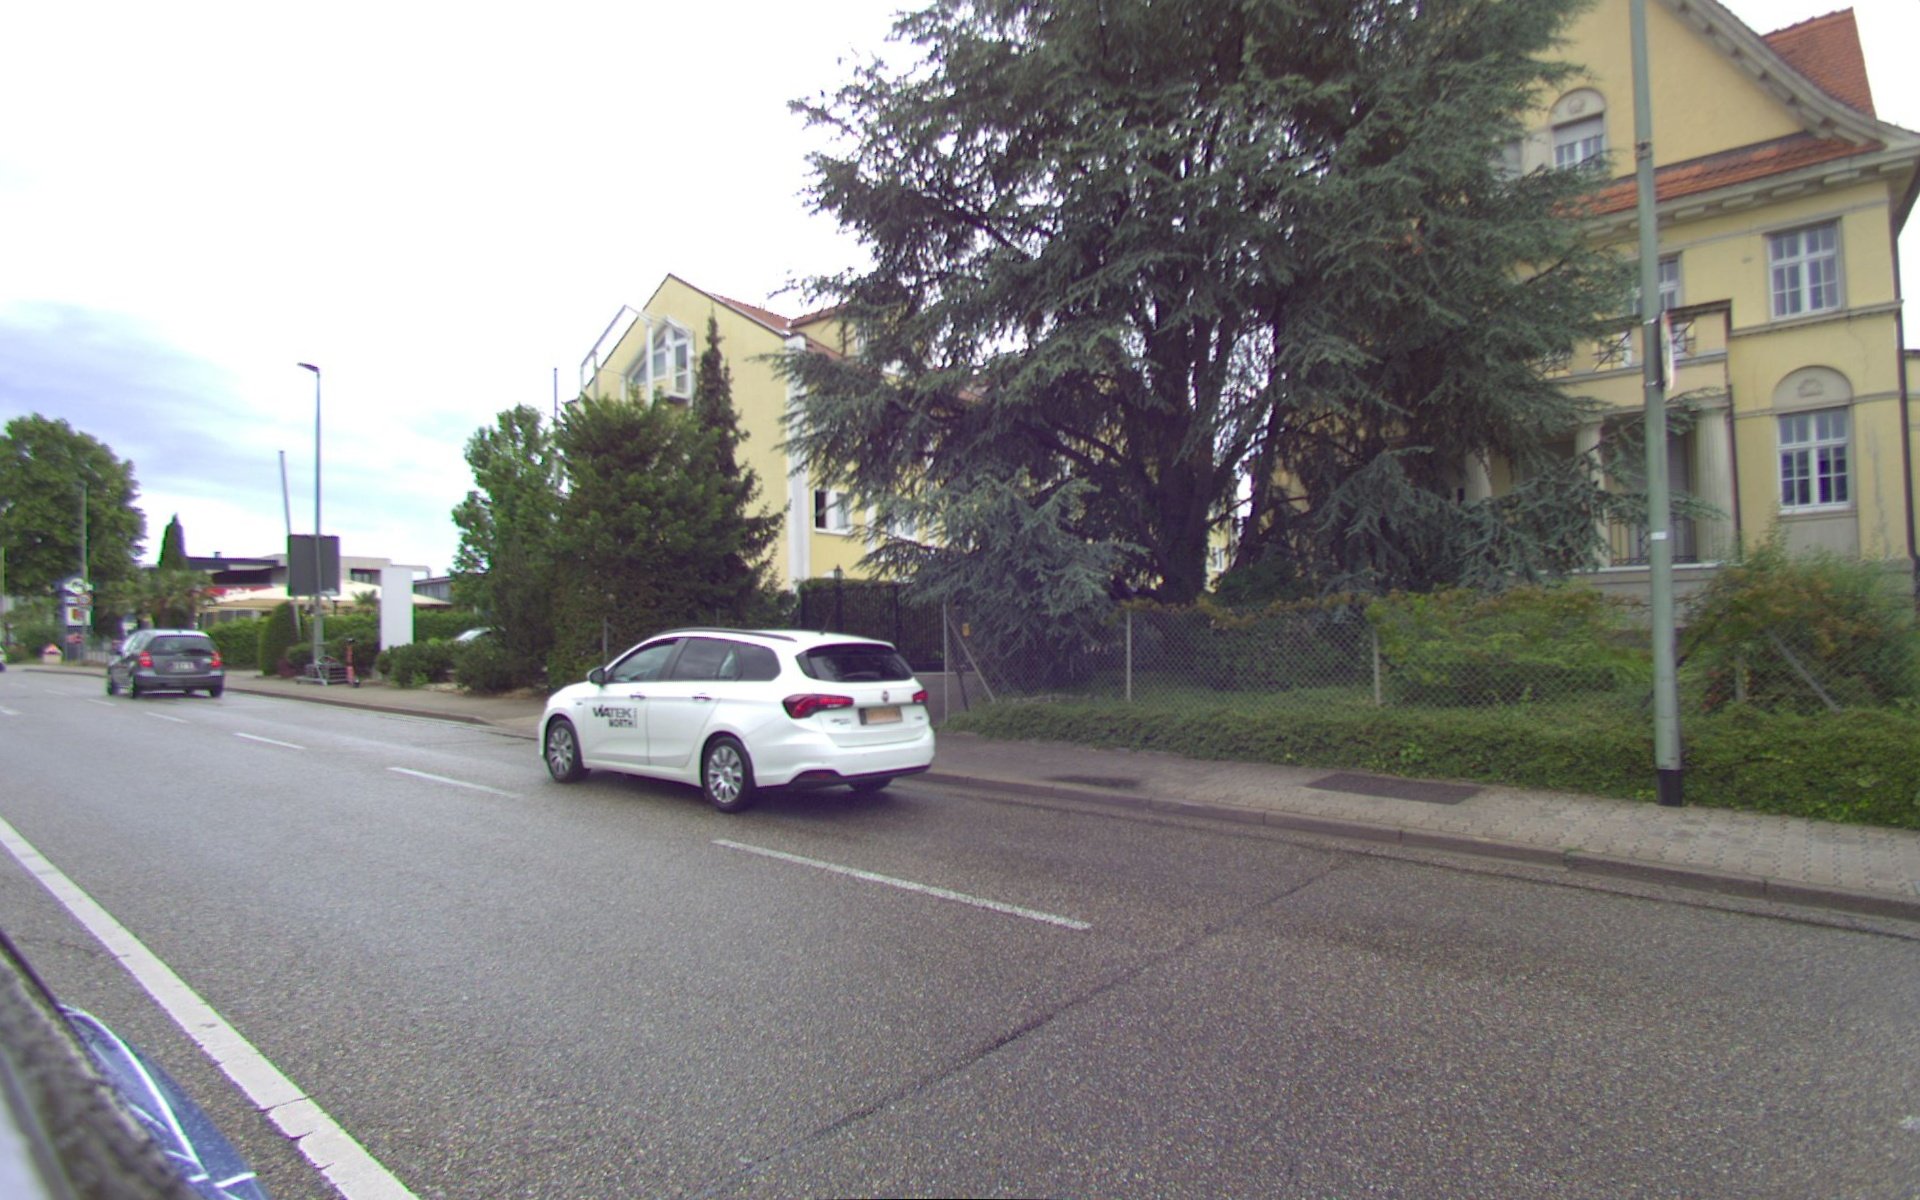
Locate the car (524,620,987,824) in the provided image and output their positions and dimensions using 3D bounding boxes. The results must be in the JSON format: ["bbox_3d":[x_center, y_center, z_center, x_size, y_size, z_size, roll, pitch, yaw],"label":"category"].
[{"bbox_3d":[-2.046,0.983,9.429,4.304,1.465,1.948,-3,-3,39],"label":"car"}]

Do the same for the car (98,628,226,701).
[{"bbox_3d":[-19.152,1.530,24.256,3.546,1.611,1.682,-3,-4,40],"label":"car"}]

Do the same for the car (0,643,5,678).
[{"bbox_3d":[-43.001,2.643,43.789,4.426,1.471,1.768,-3,-3,38],"label":"car"}]

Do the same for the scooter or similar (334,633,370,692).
[{"bbox_3d":[-15.299,1.549,25.455,0.498,1.416,1.884,1,-2,-39],"label":"scooter or similar"}]

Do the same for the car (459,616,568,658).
[{"bbox_3d":[-18.773,1.530,42.630,3.876,1.664,1.720,1,-2,-44],"label":"car"}]
